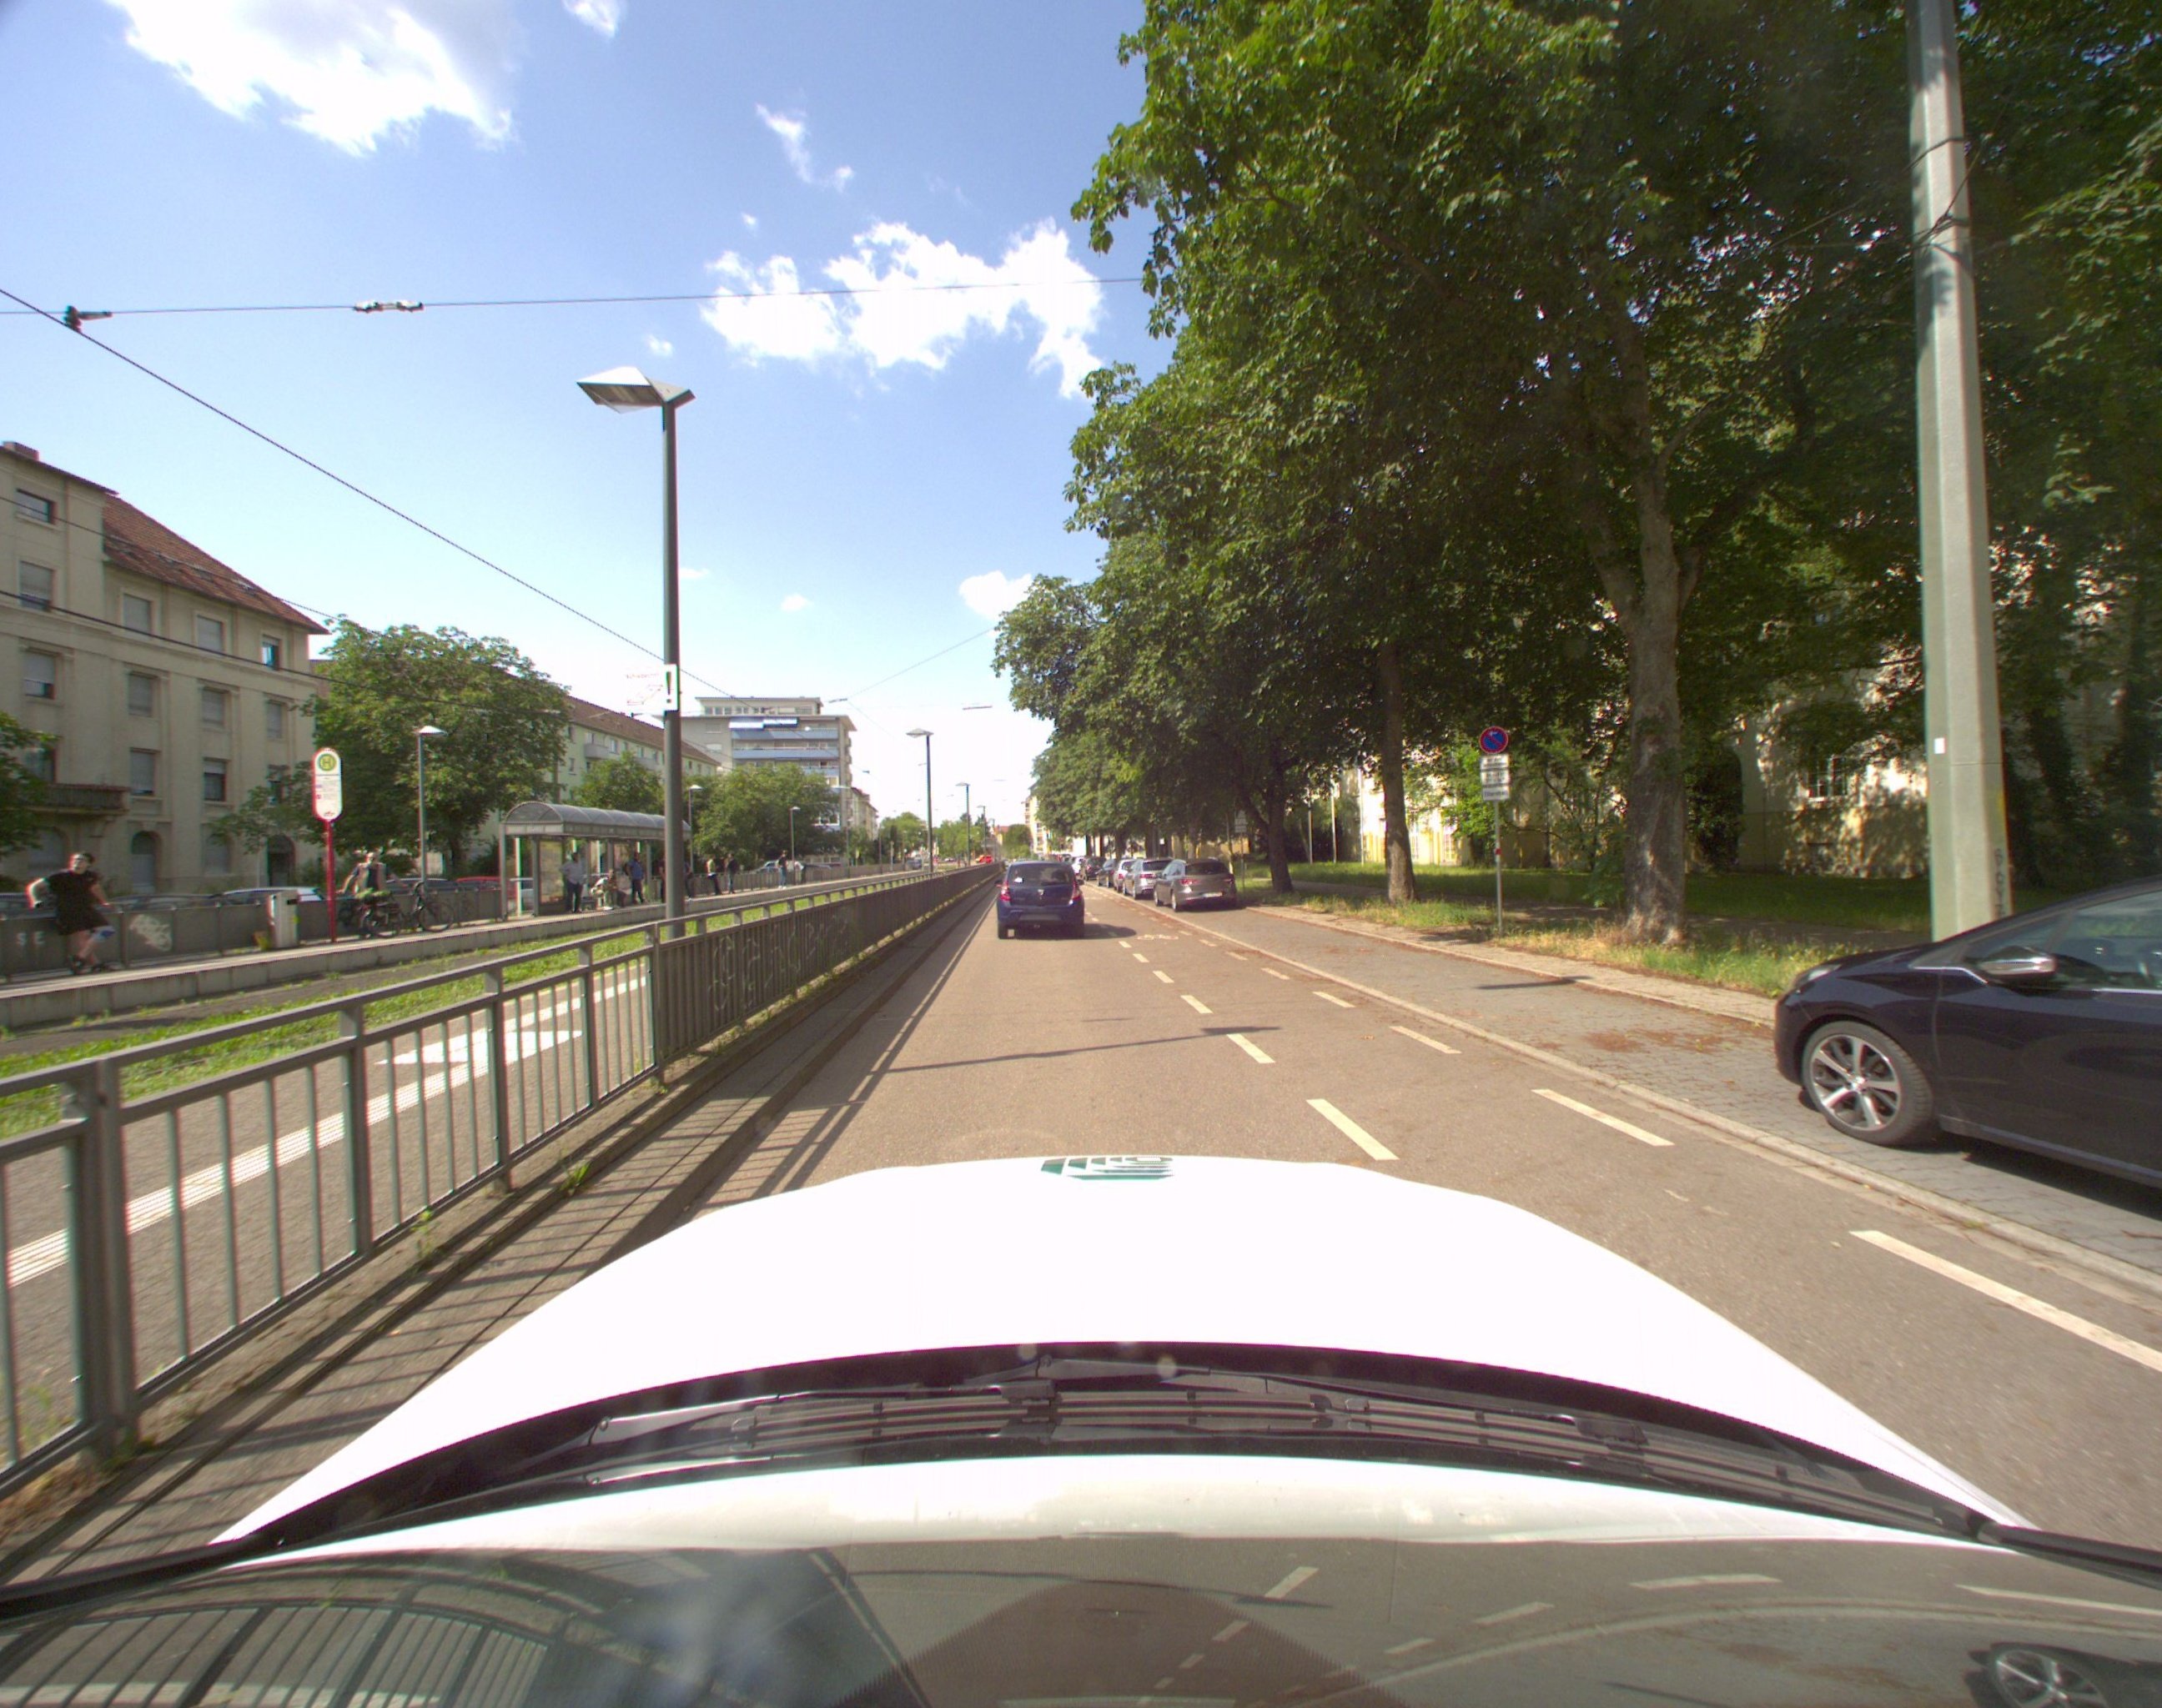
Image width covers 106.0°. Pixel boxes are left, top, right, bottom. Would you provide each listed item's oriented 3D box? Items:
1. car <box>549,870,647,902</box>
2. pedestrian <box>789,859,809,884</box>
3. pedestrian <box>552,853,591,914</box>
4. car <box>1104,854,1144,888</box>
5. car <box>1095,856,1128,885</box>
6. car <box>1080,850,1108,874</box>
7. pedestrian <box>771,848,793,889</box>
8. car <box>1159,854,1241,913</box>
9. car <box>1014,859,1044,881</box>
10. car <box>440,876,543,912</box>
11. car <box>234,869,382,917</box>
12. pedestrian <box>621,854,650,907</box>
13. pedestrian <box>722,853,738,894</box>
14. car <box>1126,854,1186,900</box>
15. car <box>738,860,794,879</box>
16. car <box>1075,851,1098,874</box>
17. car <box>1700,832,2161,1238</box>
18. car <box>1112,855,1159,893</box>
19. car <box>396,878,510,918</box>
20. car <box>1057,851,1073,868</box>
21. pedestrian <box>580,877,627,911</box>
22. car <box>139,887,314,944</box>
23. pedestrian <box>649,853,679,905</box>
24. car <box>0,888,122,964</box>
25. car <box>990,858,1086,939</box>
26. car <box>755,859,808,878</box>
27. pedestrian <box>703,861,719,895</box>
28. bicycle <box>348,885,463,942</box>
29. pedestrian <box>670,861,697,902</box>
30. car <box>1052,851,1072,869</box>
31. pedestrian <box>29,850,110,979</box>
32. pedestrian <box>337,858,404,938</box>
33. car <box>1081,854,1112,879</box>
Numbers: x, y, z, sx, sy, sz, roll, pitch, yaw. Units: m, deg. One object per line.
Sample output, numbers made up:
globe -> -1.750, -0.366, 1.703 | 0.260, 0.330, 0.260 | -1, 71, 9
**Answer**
car -> -24.751, 1.596, 41.806 | 4.024, 1.367, 1.695 | -3, 0, -45
pedestrian -> -16.823, 1.036, 48.557 | 1.032, 1.437, 0.699 | -3, 0, -19
pedestrian -> -14.564, 0.842, 23.302 | 0.653, 1.692, 0.655 | -3, 0, -3
car -> 2.090, 0.777, 40.150 | 1.844, 1.515, 4.002 | -2, 0, 2
car -> 1.629, 0.876, 44.694 | 1.614, 1.442, 4.000 | -2, 0, 0
car -> 0.969, 0.558, 58.207 | 1.821, 1.537, 4.002 | -3, 0, 2
pedestrian -> -14.951, 0.726, 40.682 | 0.799, 2.013, 0.662 | -2, 0, -1
car -> 3.347, 0.776, 23.603 | 1.854, 1.445, 4.002 | -4, 0, 2
car -> -3.438, 1.034, 54.340 | 1.694, 1.368, 3.515 | 0, 0, 1
car -> -25.007, 1.685, 34.632 | 1.437, 1.309, 3.267 | -2, 0, 40
car -> -24.560, 1.205, 25.944 | 1.437, 1.309, 3.267 | -2, 0, 40
pedestrian -> -14.987, 0.868, 27.382 | 0.591, 1.736, 0.557 | -3, 0, 1
pedestrian -> -15.048, 0.832, 34.908 | 0.488, 1.712, 0.462 | -3, 0, -14
car -> 2.677, 0.792, 29.713 | 1.854, 1.445, 4.002 | -4, 0, 2
car -> -25.865, 1.299, 66.941 | 1.618, 1.385, 4.025 | -2, 0, 41
car -> 0.422, 0.653, 66.852 | 1.614, 1.750, 3.995 | -2, 0, -3
car -> 4.790, 0.643, 3.049 | 1.762, 1.433, 3.898 | -3, 0, -4
car -> 2.321, 0.809, 35.536 | 1.854, 1.445, 4.002 | -4, 0, 2
car -> -24.466, 1.674, 31.776 | 1.437, 1.309, 3.267 | -2, 0, 40
car -> -1.789, 0.585, 91.646 | 1.662, 1.772, 4.000 | -2, 0, 0
pedestrian -> -14.577, 1.215, 24.867 | 0.922, 0.989, 0.796 | -3, -2, -2
car -> -24.039, 1.672, 23.003 | 1.437, 1.309, 3.267 | -2, 0, 38
pedestrian -> -14.551, 0.863, 28.423 | 0.601, 1.766, 0.640 | -2, 0, 5
car -> -22.938, 1.559, 16.709 | 4.023, 1.456, 1.670 | -3, 0, -44
car -> -0.894, 0.838, 17.128 | 1.764, 1.462, 3.771 | -1, 0, -3
car -> -26.534, 1.282, 72.157 | 4.020, 1.447, 1.708 | -2, 0, -38
pedestrian -> -15.963, 1.037, 35.098 | 0.488, 1.452, 0.462 | -3, 0, -14
bicycle -> -13.728, 1.180, 16.620 | 0.682, 0.974, 1.774 | -4, 0, 6
pedestrian -> -14.192, 0.990, 29.070 | 0.648, 1.426, 0.567 | -3, 0, 33
car -> -1.999, 0.641, 86.240 | 1.823, 1.761, 4.002 | -2, 0, 2
pedestrian -> -14.228, 0.823, 11.457 | 0.705, 1.726, 0.672 | -2, 0, 38
pedestrian -> -14.549, 0.880, 16.691 | 0.660, 1.569, 0.686 | -3, 0, 4
car -> 1.045, 0.799, 52.691 | 1.854, 1.445, 4.002 | -3, 0, 2
